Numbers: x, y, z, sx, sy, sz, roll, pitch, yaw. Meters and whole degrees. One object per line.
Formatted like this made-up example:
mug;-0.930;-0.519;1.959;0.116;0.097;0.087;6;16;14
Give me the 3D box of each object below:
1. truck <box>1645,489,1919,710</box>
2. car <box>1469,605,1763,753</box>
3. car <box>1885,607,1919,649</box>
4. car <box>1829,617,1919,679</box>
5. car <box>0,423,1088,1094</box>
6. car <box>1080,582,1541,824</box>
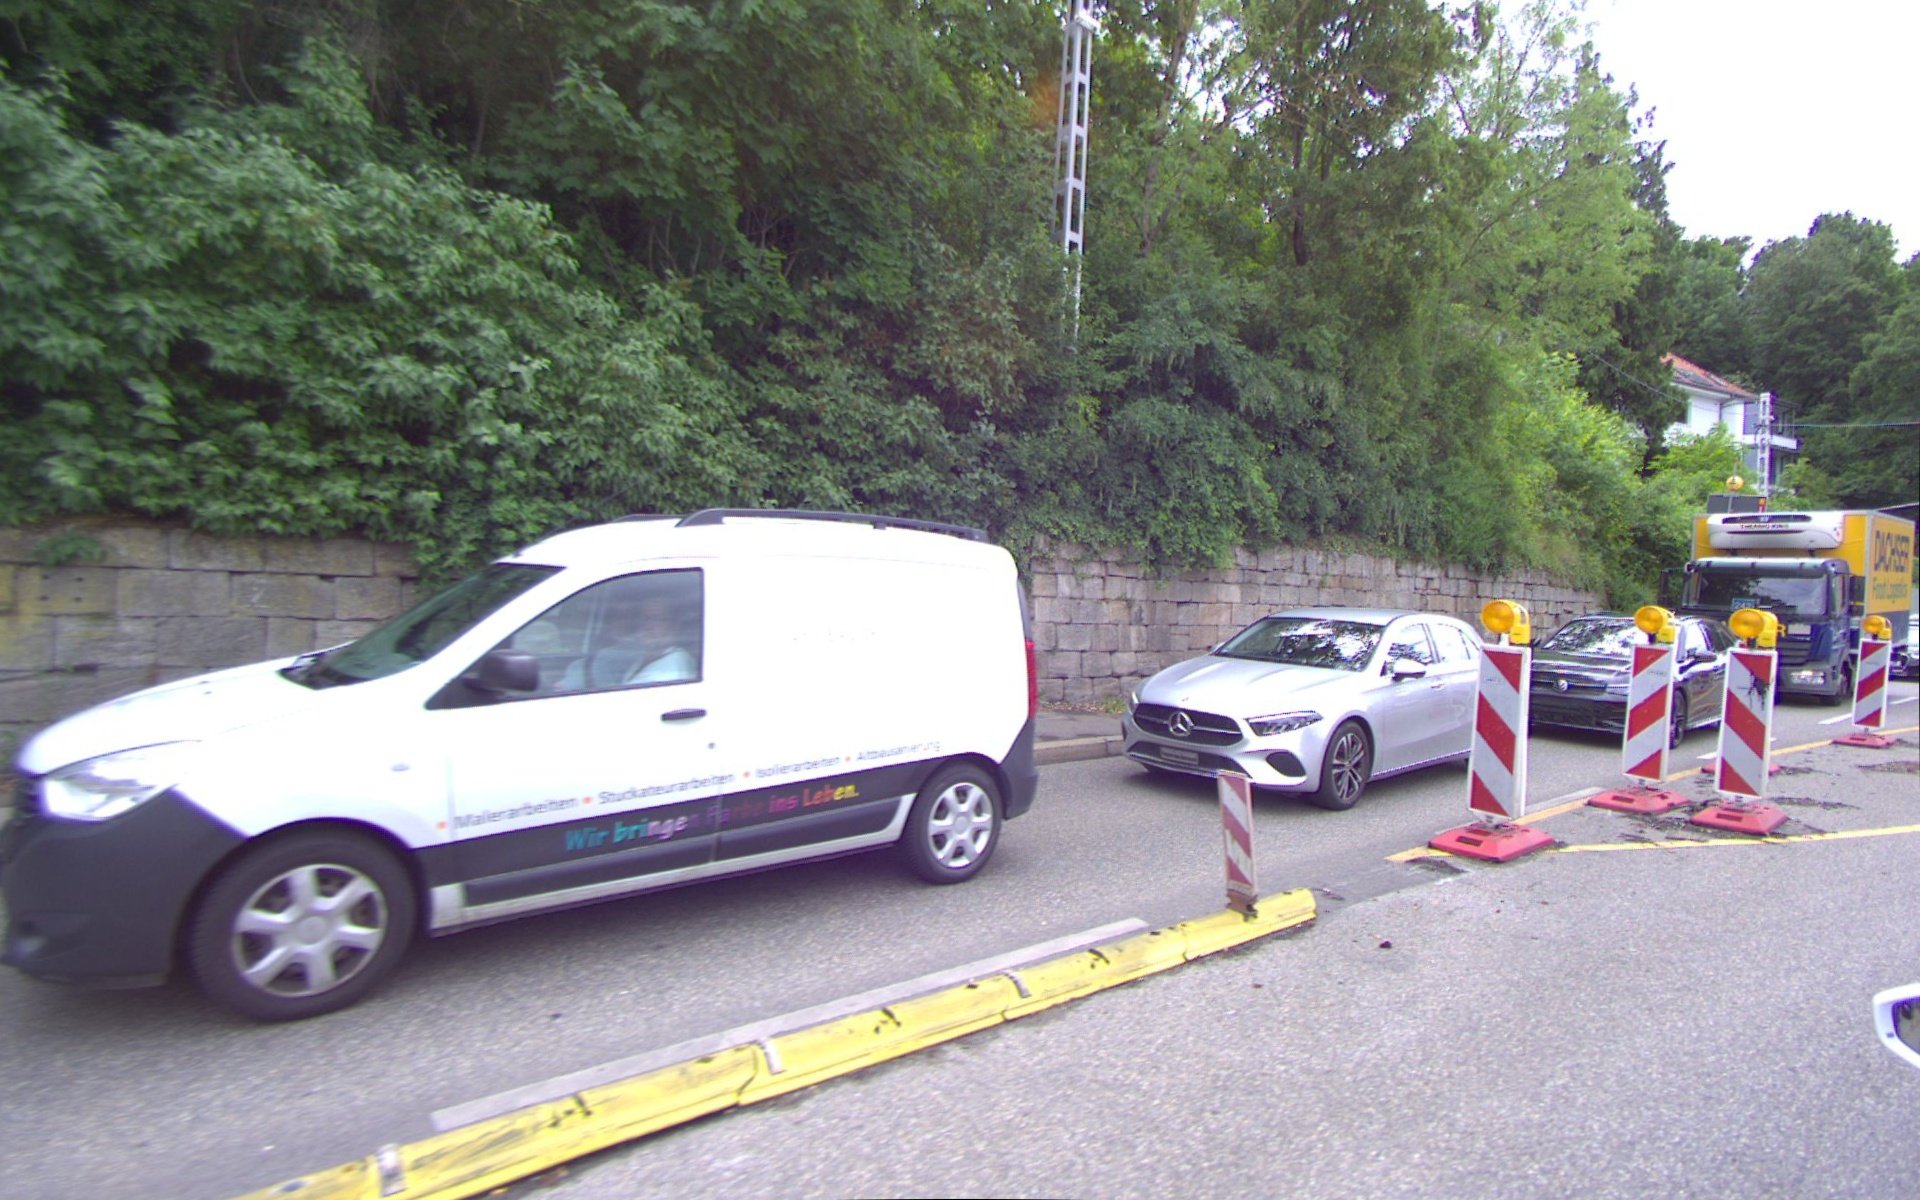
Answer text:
truck;16.209;0.042;19.559;7.288;3.557;2.709;2;0;-39
car;8.381;0.882;12.657;4.707;1.461;1.756;2;2;-40
car;43.495;1.304;45.238;4.717;1.754;1.845;1;3;-37
car;25.210;1.242;27.149;4.834;1.449;1.795;1;1;-40
car;-1.547;0.440;4.762;4.307;1.814;1.787;2;2;-41
car;3.165;0.708;8.627;4.277;1.528;1.776;2;2;-40
